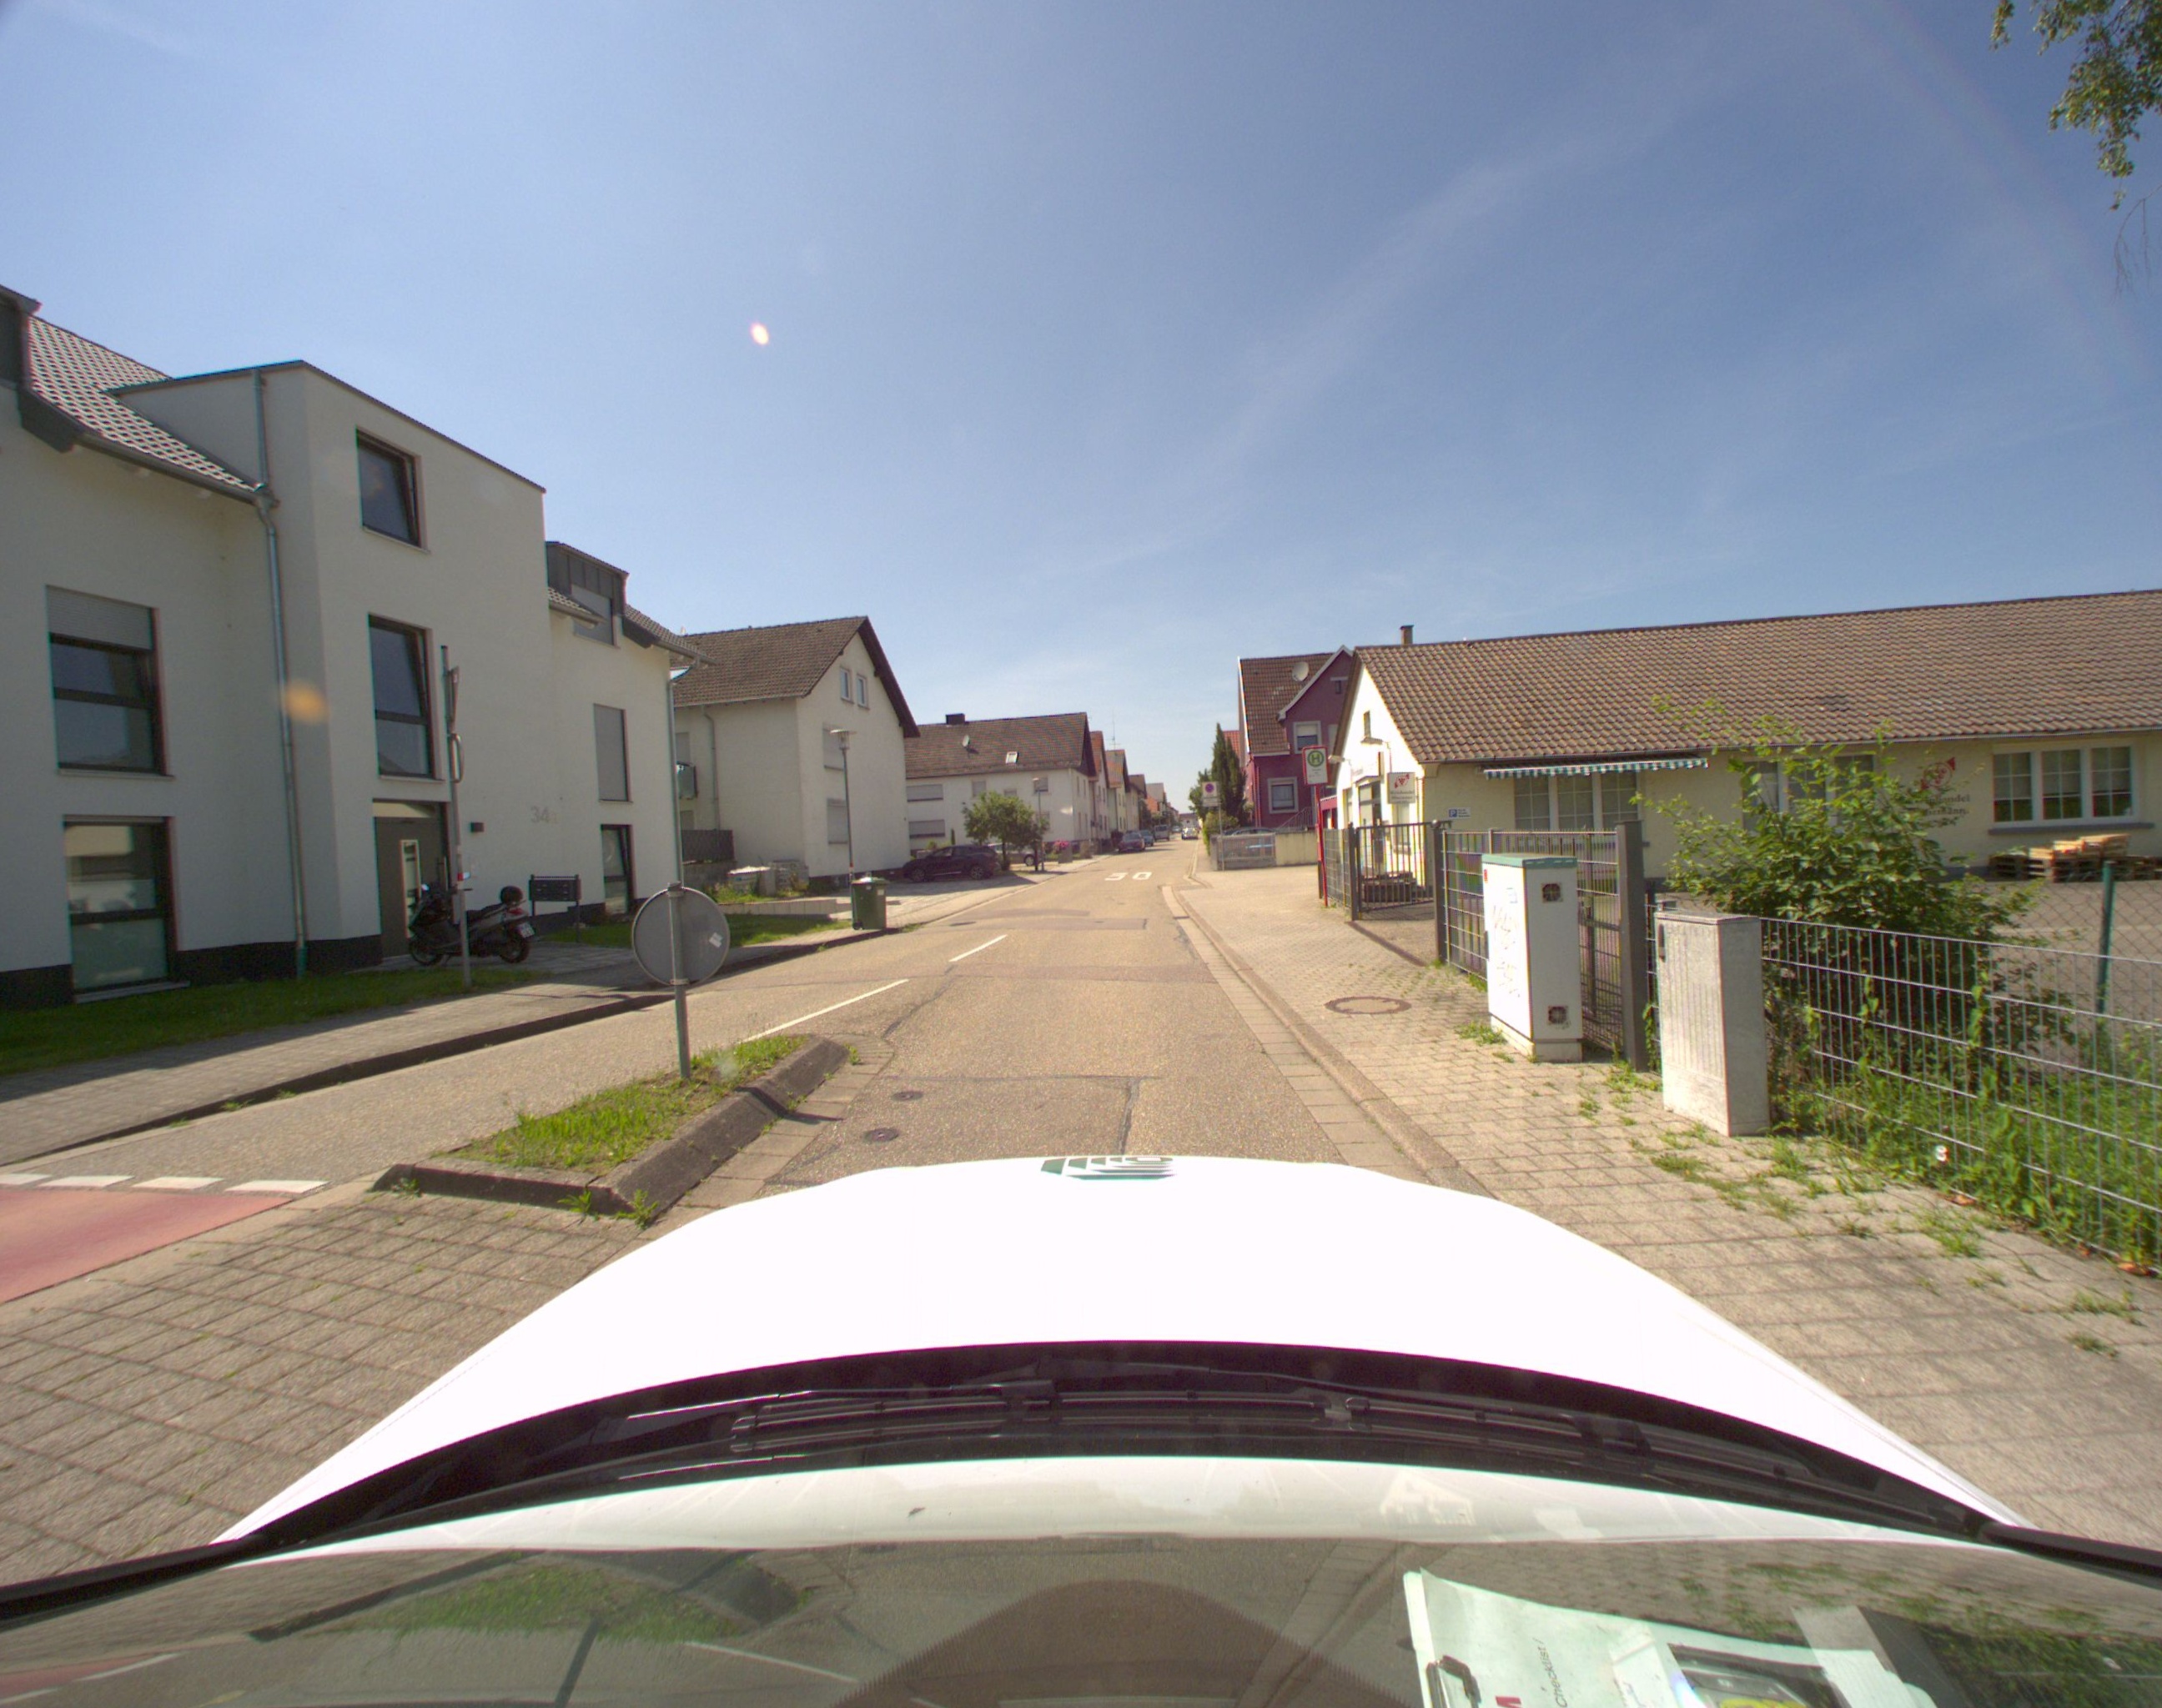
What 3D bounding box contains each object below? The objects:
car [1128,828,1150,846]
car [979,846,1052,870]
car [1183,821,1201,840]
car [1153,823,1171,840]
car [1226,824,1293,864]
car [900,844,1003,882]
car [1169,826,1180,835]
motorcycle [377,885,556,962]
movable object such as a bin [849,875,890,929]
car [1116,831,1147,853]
[{"bbox_3d":[5.567,-1.627,78.331,1.916,1.604,4.003,-3,0,2],"label":"car"},{"bbox_3d":[-3.800,0.218,47.870,3.968,1.190,1.843,-3,1,5],"label":"car"},{"bbox_3d":[13.360,-2.807,97.735,1.941,2.072,4.009,-3,-1,8],"label":"car"},{"bbox_3d":[9.933,-2.747,99.626,1.841,1.787,4.009,-3,-1,8],"label":"car"},{"bbox_3d":[7.764,-0.420,35.601,2.729,1.597,1.174,-3,-1,8],"label":"car"},{"bbox_3d":[-5.522,0.372,35.004,3.968,1.383,1.663,-3,1,5],"label":"car"},{"bbox_3d":[19.851,-5.030,173.550,1.941,1.813,4.012,-2,0,11],"label":"car"},{"bbox_3d":[-9.015,1.013,11.966,2.346,1.013,0.674,-3,-1,11],"label":"motorcycle"},{"bbox_3d":[-4.488,1.013,17.277,0.640,1.083,0.461,-2,1,15],"label":"movable object such as a bin"},{"bbox_3d":[3.998,-0.936,63.793,1.982,1.553,4.011,-3,1,9],"label":"car"}]
